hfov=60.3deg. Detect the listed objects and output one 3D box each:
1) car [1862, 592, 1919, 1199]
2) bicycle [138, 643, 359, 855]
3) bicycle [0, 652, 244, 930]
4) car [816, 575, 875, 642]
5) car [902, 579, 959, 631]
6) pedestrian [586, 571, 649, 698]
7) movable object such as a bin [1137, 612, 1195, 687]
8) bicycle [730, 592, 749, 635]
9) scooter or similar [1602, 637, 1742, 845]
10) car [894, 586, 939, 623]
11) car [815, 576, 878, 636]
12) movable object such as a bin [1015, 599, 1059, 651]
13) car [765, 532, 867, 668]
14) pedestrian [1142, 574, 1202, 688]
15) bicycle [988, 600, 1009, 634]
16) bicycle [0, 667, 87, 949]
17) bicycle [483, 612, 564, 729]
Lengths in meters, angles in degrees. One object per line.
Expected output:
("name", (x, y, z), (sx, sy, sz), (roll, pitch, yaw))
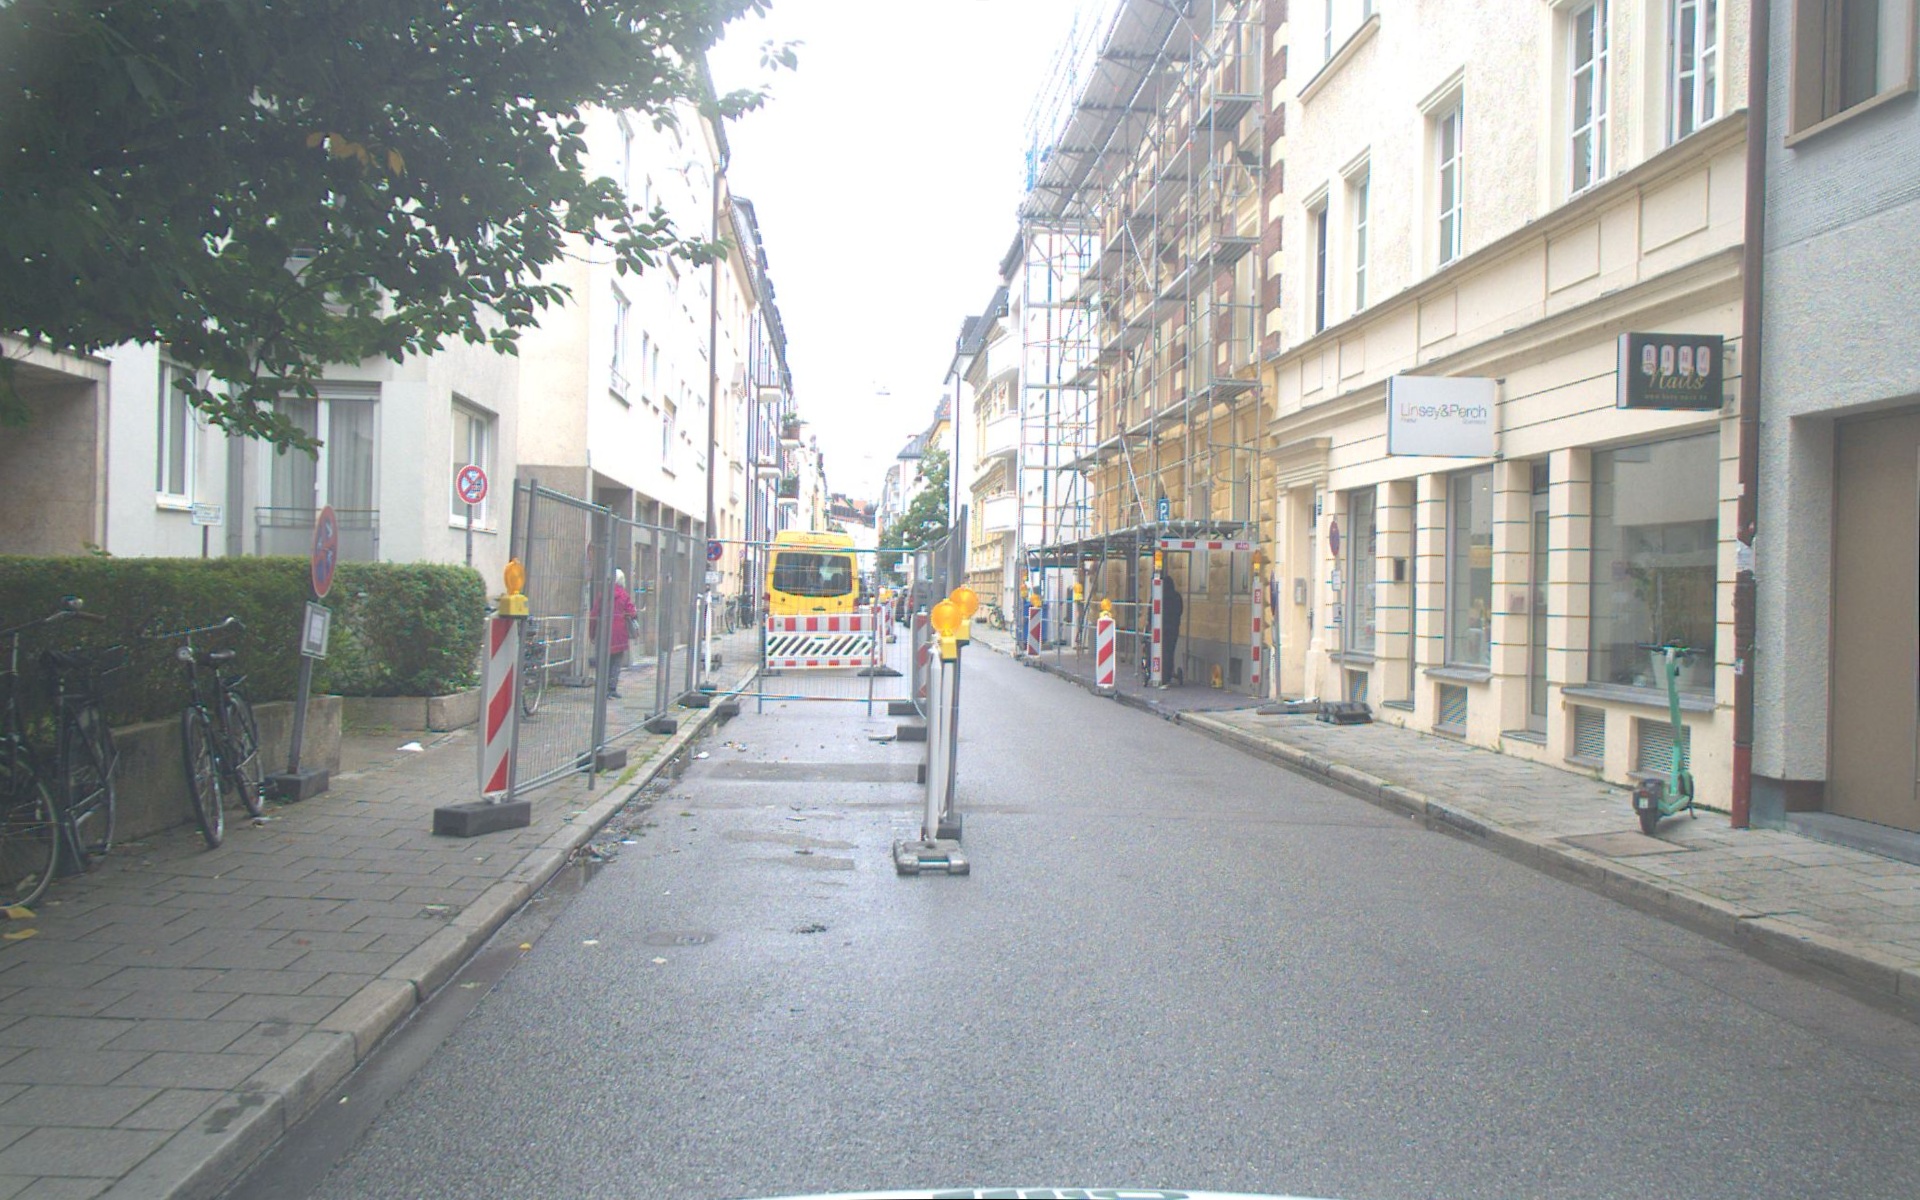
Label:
("car", (3.148, 0.812, 2.003), (1.736, 1.550, 4.065), (3, 0, -2))
("bicycle", (-3.862, 0.764, 9.124), (0.435, 0.995, 1.815), (4, -1, -3))
("bicycle", (-3.762, 0.761, 7.262), (0.435, 0.995, 1.852), (4, -1, -3))
("car", (-3.529, 0.238, 50.710), (1.693, 1.930, 5.504), (0, 0, -4))
("car", (-1.255, 0.194, 67.809), (1.955, 1.965, 4.655), (3, 0, -5))
("pedestrian", (-4.289, 0.422, 20.737), (0.625, 1.558, 0.747), (1, 0, -2))
("movable object such as a bin", (3.393, 0.802, 27.345), (0.715, 1.160, 0.987), (-3, 0, -5))
("bicycle", (-6.715, 0.402, 50.333), (0.374, 1.209, 2.130), (2, 1, -11))
("scooter or similar", (4.715, 0.882, 10.908), (0.485, 1.204, 1.602), (-2, 1, 36))
("car", (-2.061, 0.202, 77.608), (1.857, 1.670, 4.317), (1, 0, -5))
("car", (-3.977, 0.202, 57.239), (1.868, 1.930, 5.081), (1, 0, -7))
("movable object such as a bin", (2.127, 0.680, 45.679), (1.063, 1.370, 1.318), (-2, 0, 8))
("car", (-3.065, -0.014, 35.583), (1.954, 2.624, 6.730), (1, 0, -5))
("pedestrian", (3.430, 0.484, 26.851), (0.715, 1.783, 0.987), (-2, 0, -5))
("bicycle", (1.420, 0.627, 61.172), (0.625, 1.173, 1.914), (-1, 1, -3))
("bicycle", (-3.677, 0.761, 5.704), (0.427, 0.995, 1.698), (4, -1, -3))
("bicycle", (-4.478, 0.698, 17.036), (0.370, 1.081, 1.596), (7, 0, -3))
